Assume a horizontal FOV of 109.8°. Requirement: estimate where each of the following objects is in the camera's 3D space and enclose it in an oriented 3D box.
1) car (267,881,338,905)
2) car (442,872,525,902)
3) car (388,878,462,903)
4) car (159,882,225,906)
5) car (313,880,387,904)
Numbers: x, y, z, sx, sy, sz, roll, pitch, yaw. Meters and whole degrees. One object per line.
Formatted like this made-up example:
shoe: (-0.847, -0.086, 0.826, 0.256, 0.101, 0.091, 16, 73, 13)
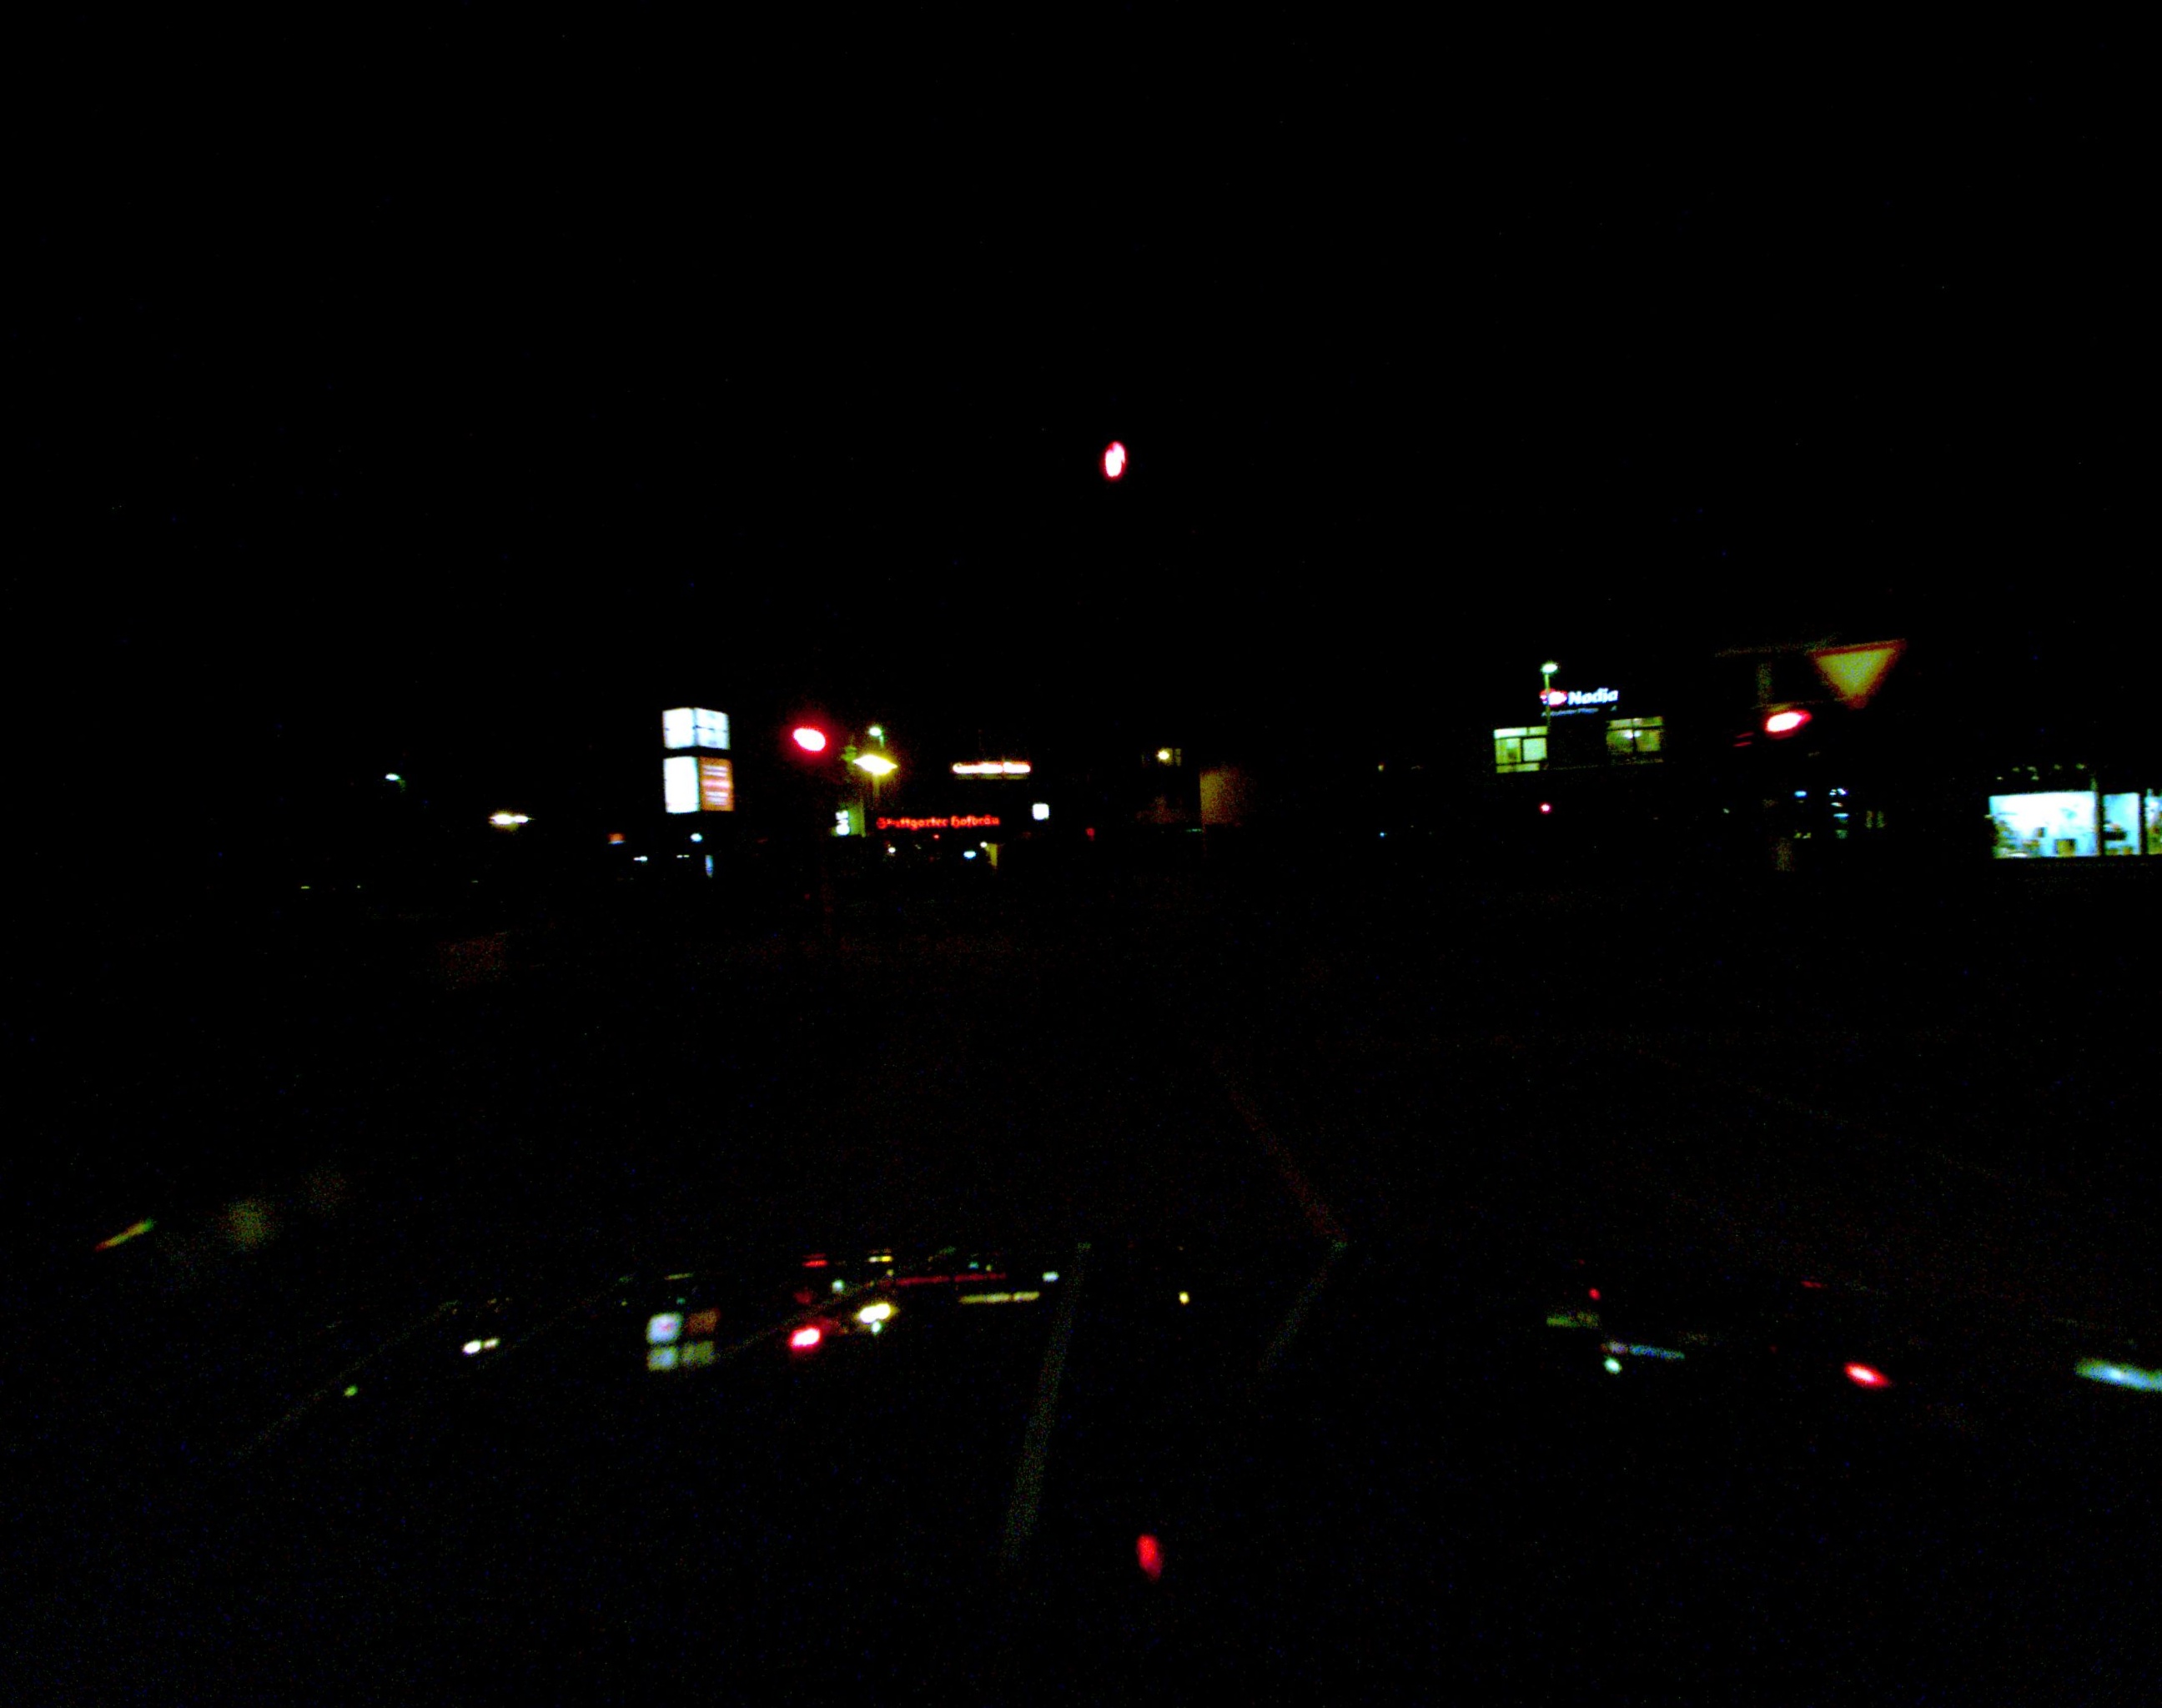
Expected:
car: (-51.550, 2.589, 50.316, 3.886, 1.444, 1.898, -2, -1, 21)
car: (-35.166, 1.932, 44.760, 3.856, 1.643, 1.877, -2, -1, 14)
car: (-39.818, 2.213, 46.107, 3.886, 1.444, 1.898, -2, -1, 24)
car: (-63.990, 2.910, 54.684, 3.886, 1.616, 2.017, -2, -1, 24)
car: (-46.862, 2.444, 48.726, 3.886, 1.444, 1.898, -2, -1, 21)
